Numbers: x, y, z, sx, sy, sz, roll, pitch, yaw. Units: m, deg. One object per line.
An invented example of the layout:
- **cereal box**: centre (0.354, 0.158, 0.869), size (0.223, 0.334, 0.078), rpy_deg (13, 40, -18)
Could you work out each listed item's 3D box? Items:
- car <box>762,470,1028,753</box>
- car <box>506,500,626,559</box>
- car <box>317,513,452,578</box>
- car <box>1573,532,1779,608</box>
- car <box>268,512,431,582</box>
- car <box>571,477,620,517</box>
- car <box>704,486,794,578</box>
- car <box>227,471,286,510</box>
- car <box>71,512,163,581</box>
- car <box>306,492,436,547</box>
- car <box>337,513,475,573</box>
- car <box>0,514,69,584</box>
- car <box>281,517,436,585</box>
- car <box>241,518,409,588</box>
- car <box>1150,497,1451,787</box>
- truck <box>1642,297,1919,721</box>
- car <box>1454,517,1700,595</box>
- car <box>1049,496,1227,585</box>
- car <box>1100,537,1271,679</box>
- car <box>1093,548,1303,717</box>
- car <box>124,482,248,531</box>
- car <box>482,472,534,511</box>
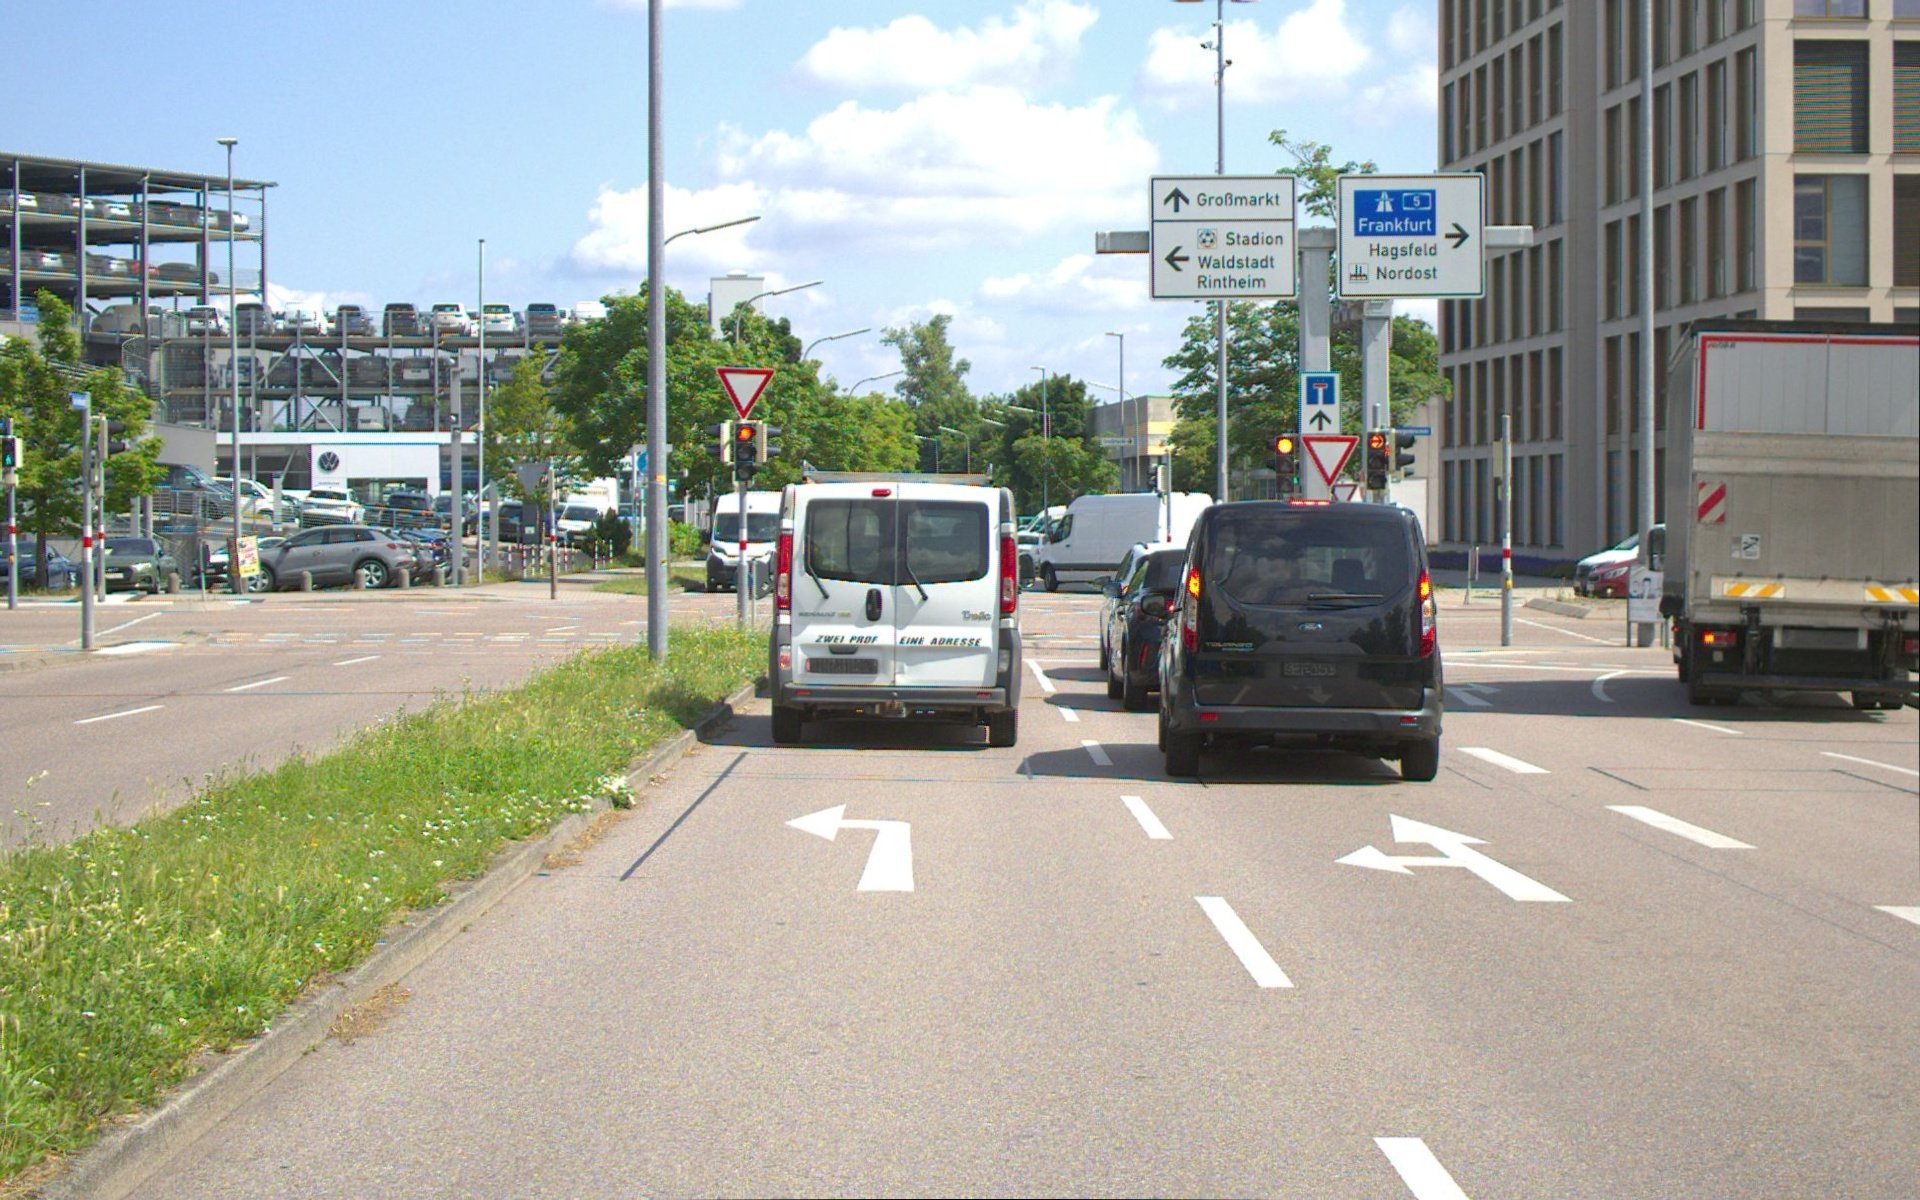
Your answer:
- **car**: centre (-0.431, 0.056, 26.916), size (1.856, 2.011, 4.000), rpy_deg (1, 1, 2)
- **car**: centre (-13.359, -2.389, 116.537), size (3.986, 1.919, 1.827), rpy_deg (1, 1, -6)
- **car**: centre (-15.949, -1.510, 95.322), size (3.507, 1.707, 1.604), rpy_deg (-1, 2, -4)
- **car**: centre (14.951, -0.637, 71.895), size (3.893, 1.485, 1.795), rpy_deg (1, 2, -1)
- **car**: centre (-15.551, -1.363, 87.718), size (3.912, 1.707, 1.689), rpy_deg (-1, 2, -4)
- **car**: centre (-14.560, -4.127, 137.520), size (1.846, 1.524, 4.001), rpy_deg (1, 2, -5)
- **car**: centre (-5.363, -1.765, 87.861), size (1.971, 2.248, 4.981), rpy_deg (-1, 2, 0)
- **car**: centre (-28.356, -4.416, 138.644), size (1.846, 1.524, 4.001), rpy_deg (1, 2, -5)
- **car**: centre (-19.691, -1.257, 80.195), size (1.816, 1.546, 4.001), rpy_deg (1, 1, -17)
- **car**: centre (-19.830, -2.710, 115.844), size (4.164, 1.707, 1.689), rpy_deg (2, 2, -6)
- **car**: centre (-16.619, -1.729, 103.290), size (3.912, 1.707, 1.689), rpy_deg (-1, 2, -4)
- **car**: centre (-21.656, -1.199, 79.554), size (1.816, 1.546, 4.001), rpy_deg (1, 1, -17)
- **car**: centre (-16.111, -1.322, 92.177), size (3.912, 1.707, 1.689), rpy_deg (-1, 2, -4)
- **car**: centre (-15.688, -1.168, 85.060), size (3.861, 1.634, 1.858), rpy_deg (-1, 2, -4)
- **car**: centre (2.280, 0.227, 23.912), size (1.820, 1.802, 4.000), rpy_deg (1, 1, 3)
- **truck**: centre (8.900, -0.925, 36.441), size (3.131, 3.927, 8.854), rpy_deg (1, 1, 11)
- **car**: centre (13.565, -0.981, 75.772), size (4.982, 1.602, 2.000), rpy_deg (1, 2, -3)
- **car**: centre (4.676, -1.606, 91.109), size (1.993, 2.247, 5.515), rpy_deg (0, 2, -30)
- **car**: centre (2.591, 0.067, 40.294), size (1.740, 1.538, 4.000), rpy_deg (1, 1, 0)
- **car**: centre (2.229, 0.269, 33.135), size (1.740, 1.490, 4.000), rpy_deg (1, 1, 0)
- **car**: centre (-27.957, -3.367, 124.216), size (4.164, 1.707, 1.689), rpy_deg (1, 1, -6)
- **car**: centre (-18.032, -4.343, 137.329), size (1.846, 1.524, 4.001), rpy_deg (1, 2, -5)
